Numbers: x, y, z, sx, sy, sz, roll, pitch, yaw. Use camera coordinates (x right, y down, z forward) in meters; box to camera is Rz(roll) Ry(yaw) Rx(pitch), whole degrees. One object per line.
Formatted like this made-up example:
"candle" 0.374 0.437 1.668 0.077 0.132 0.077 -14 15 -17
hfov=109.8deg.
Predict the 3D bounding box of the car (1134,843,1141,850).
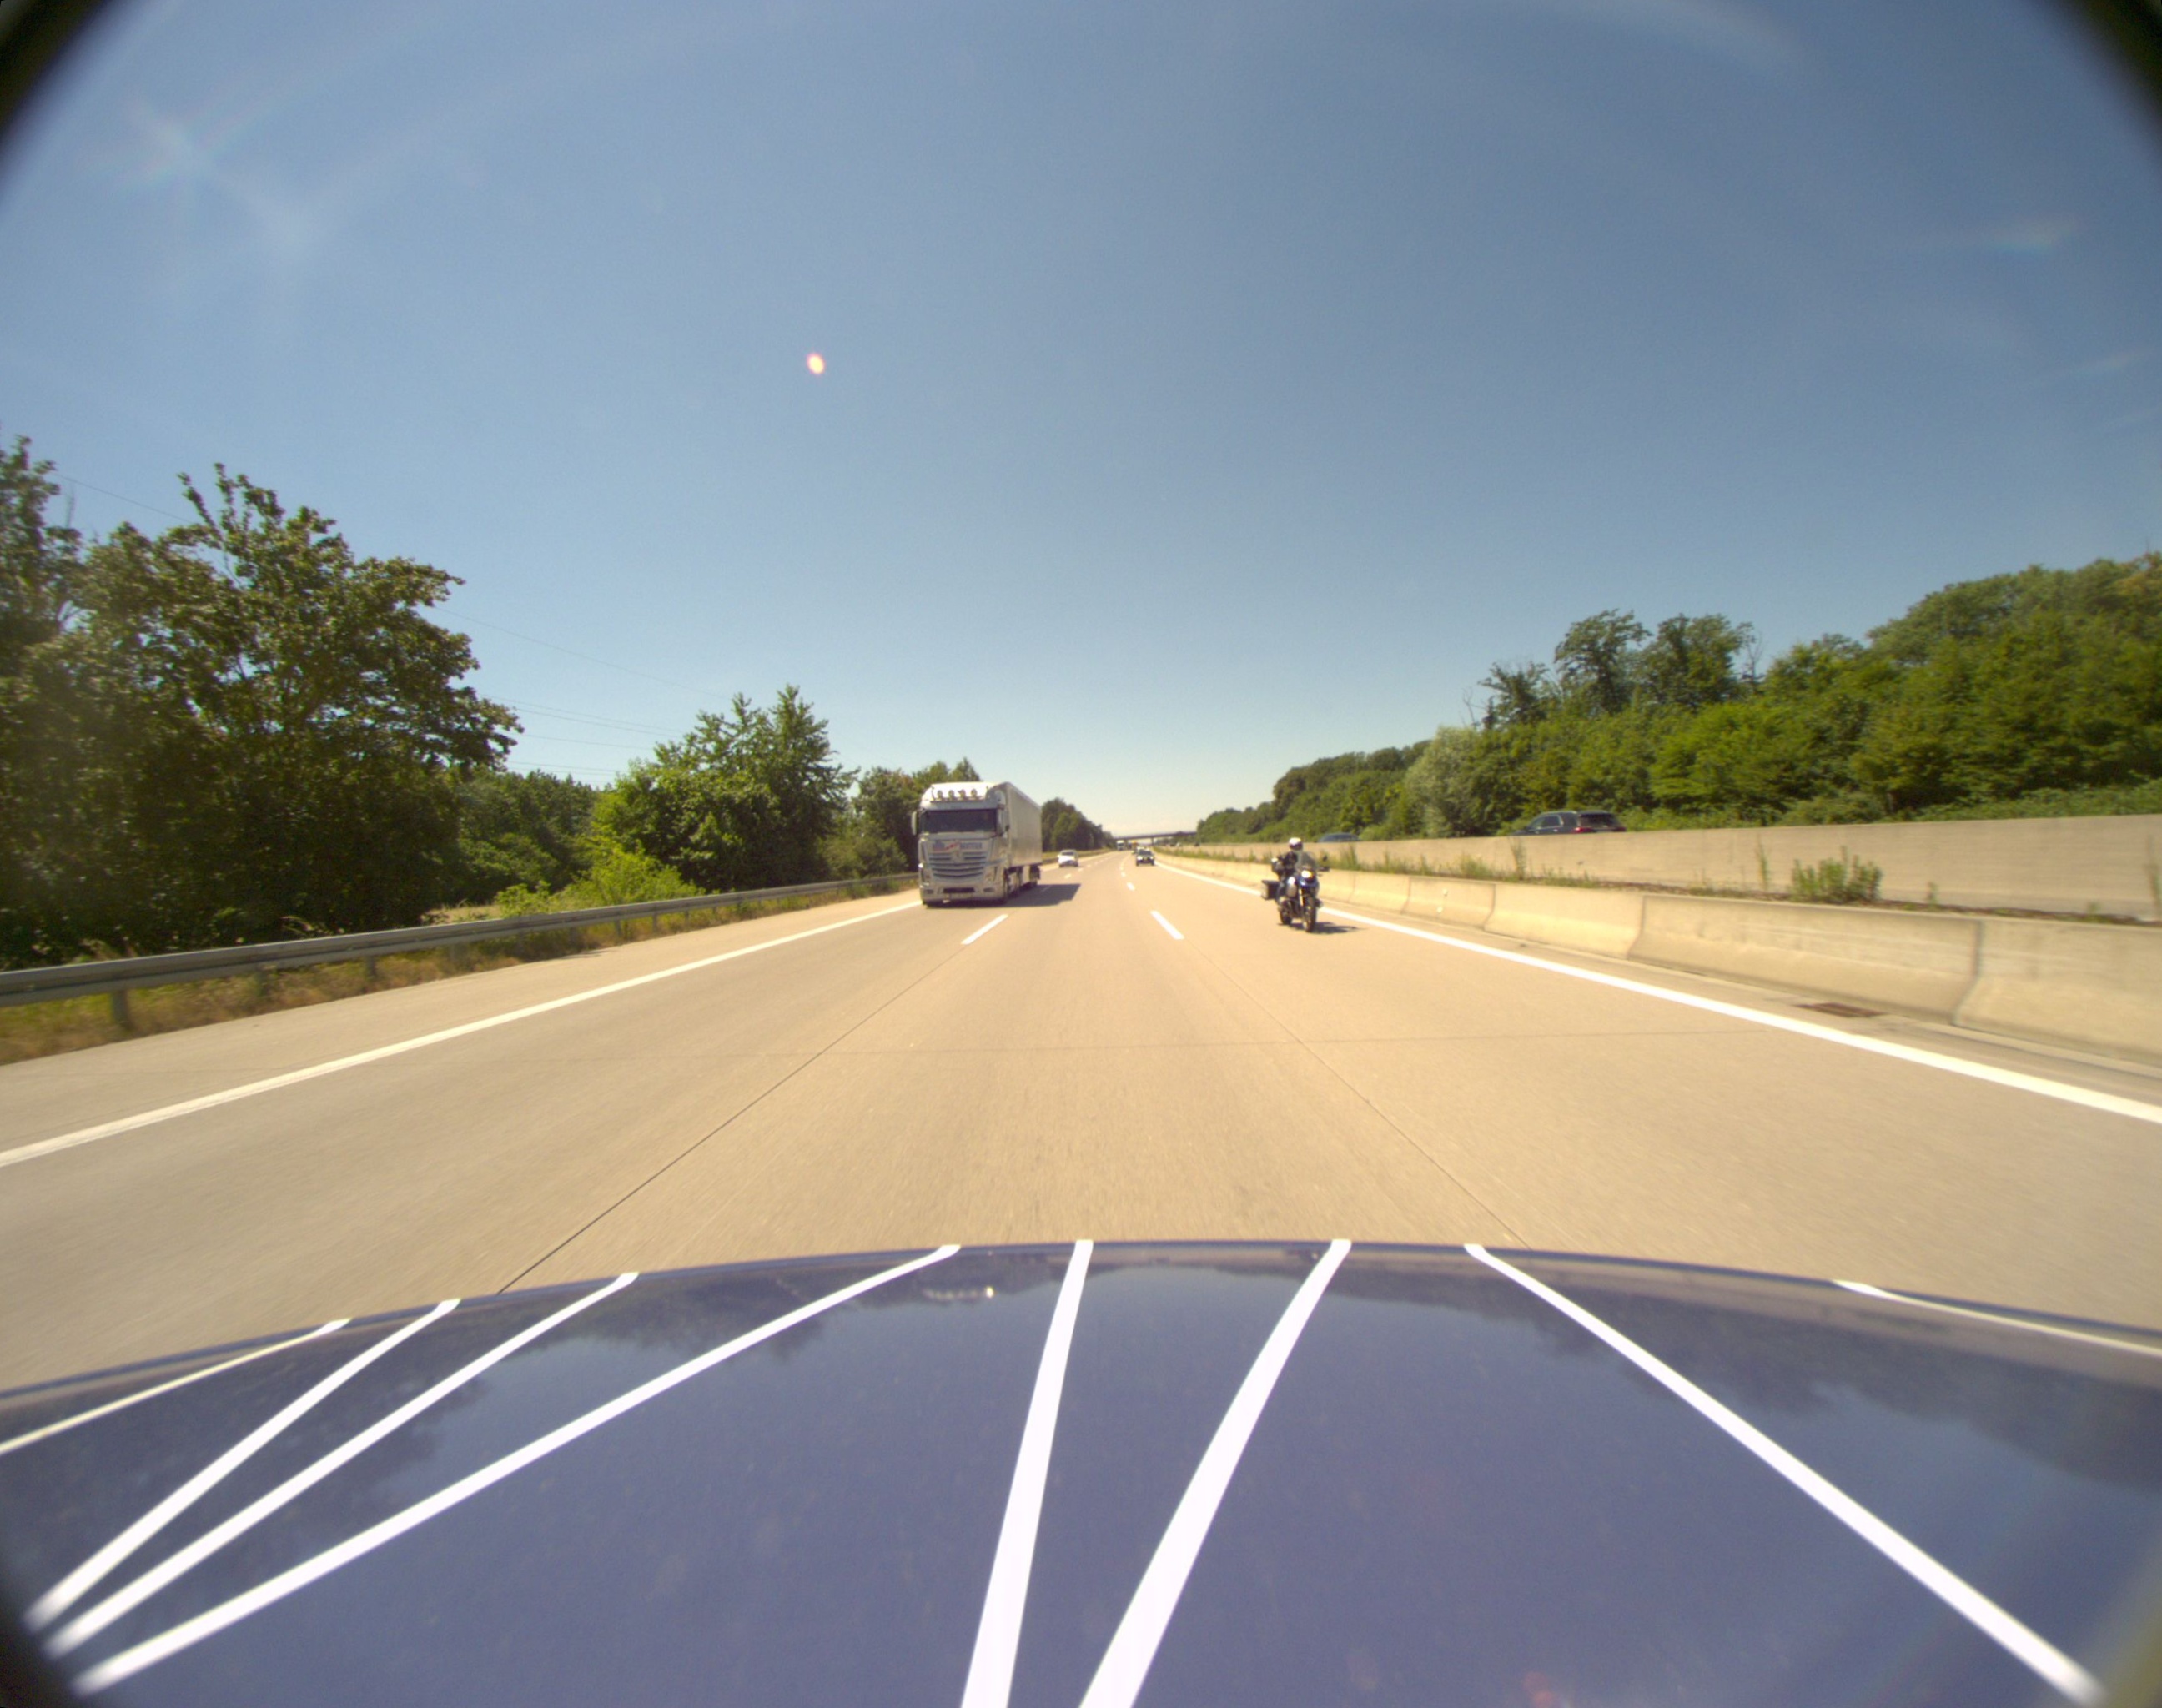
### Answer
"car" 13.026 -1.715 174.892 1.586 1.527 3.612 -5 0 5

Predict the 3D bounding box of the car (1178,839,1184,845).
"car" 34.234 -4.022 260.955 1.638 2.002 4.103 -2 1 4

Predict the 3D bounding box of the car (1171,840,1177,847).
"car" 27.751 -3.017 227.816 1.435 2.002 4.787 -2 1 4

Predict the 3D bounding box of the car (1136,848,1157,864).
"car" 6.649 0.180 77.306 1.998 1.518 4.001 -3 0 5

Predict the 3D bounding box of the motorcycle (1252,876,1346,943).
"motorcycle" 4.027 0.996 14.281 1.024 1.042 2.412 -2 0 -1

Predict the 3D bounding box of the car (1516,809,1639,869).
"car" 17.366 -0.507 26.857 1.663 1.911 4.138 -3 1 1

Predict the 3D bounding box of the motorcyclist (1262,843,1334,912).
"motorcyclist" 4.010 0.428 14.114 1.027 1.202 0.911 -2 0 0

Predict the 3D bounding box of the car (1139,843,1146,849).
"car" 17.197 -2.310 213.221 1.580 1.565 3.674 -2 1 0

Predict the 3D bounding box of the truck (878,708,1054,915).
"truck" -3.685 -1.242 31.359 3.586 5.753 18.247 -5 0 1

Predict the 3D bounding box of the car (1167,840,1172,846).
"car" 29.537 -3.582 252.664 1.435 2.002 3.521 -2 1 4

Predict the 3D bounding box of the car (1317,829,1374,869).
"car" 13.963 -0.266 40.342 1.663 1.911 4.006 -3 1 1

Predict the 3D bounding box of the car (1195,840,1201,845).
"car" 37.079 -3.617 241.353 1.435 1.705 3.273 -2 1 4

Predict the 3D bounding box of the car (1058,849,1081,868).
"car" -1.294 0.440 85.450 1.883 1.878 5.281 -5 0 5
